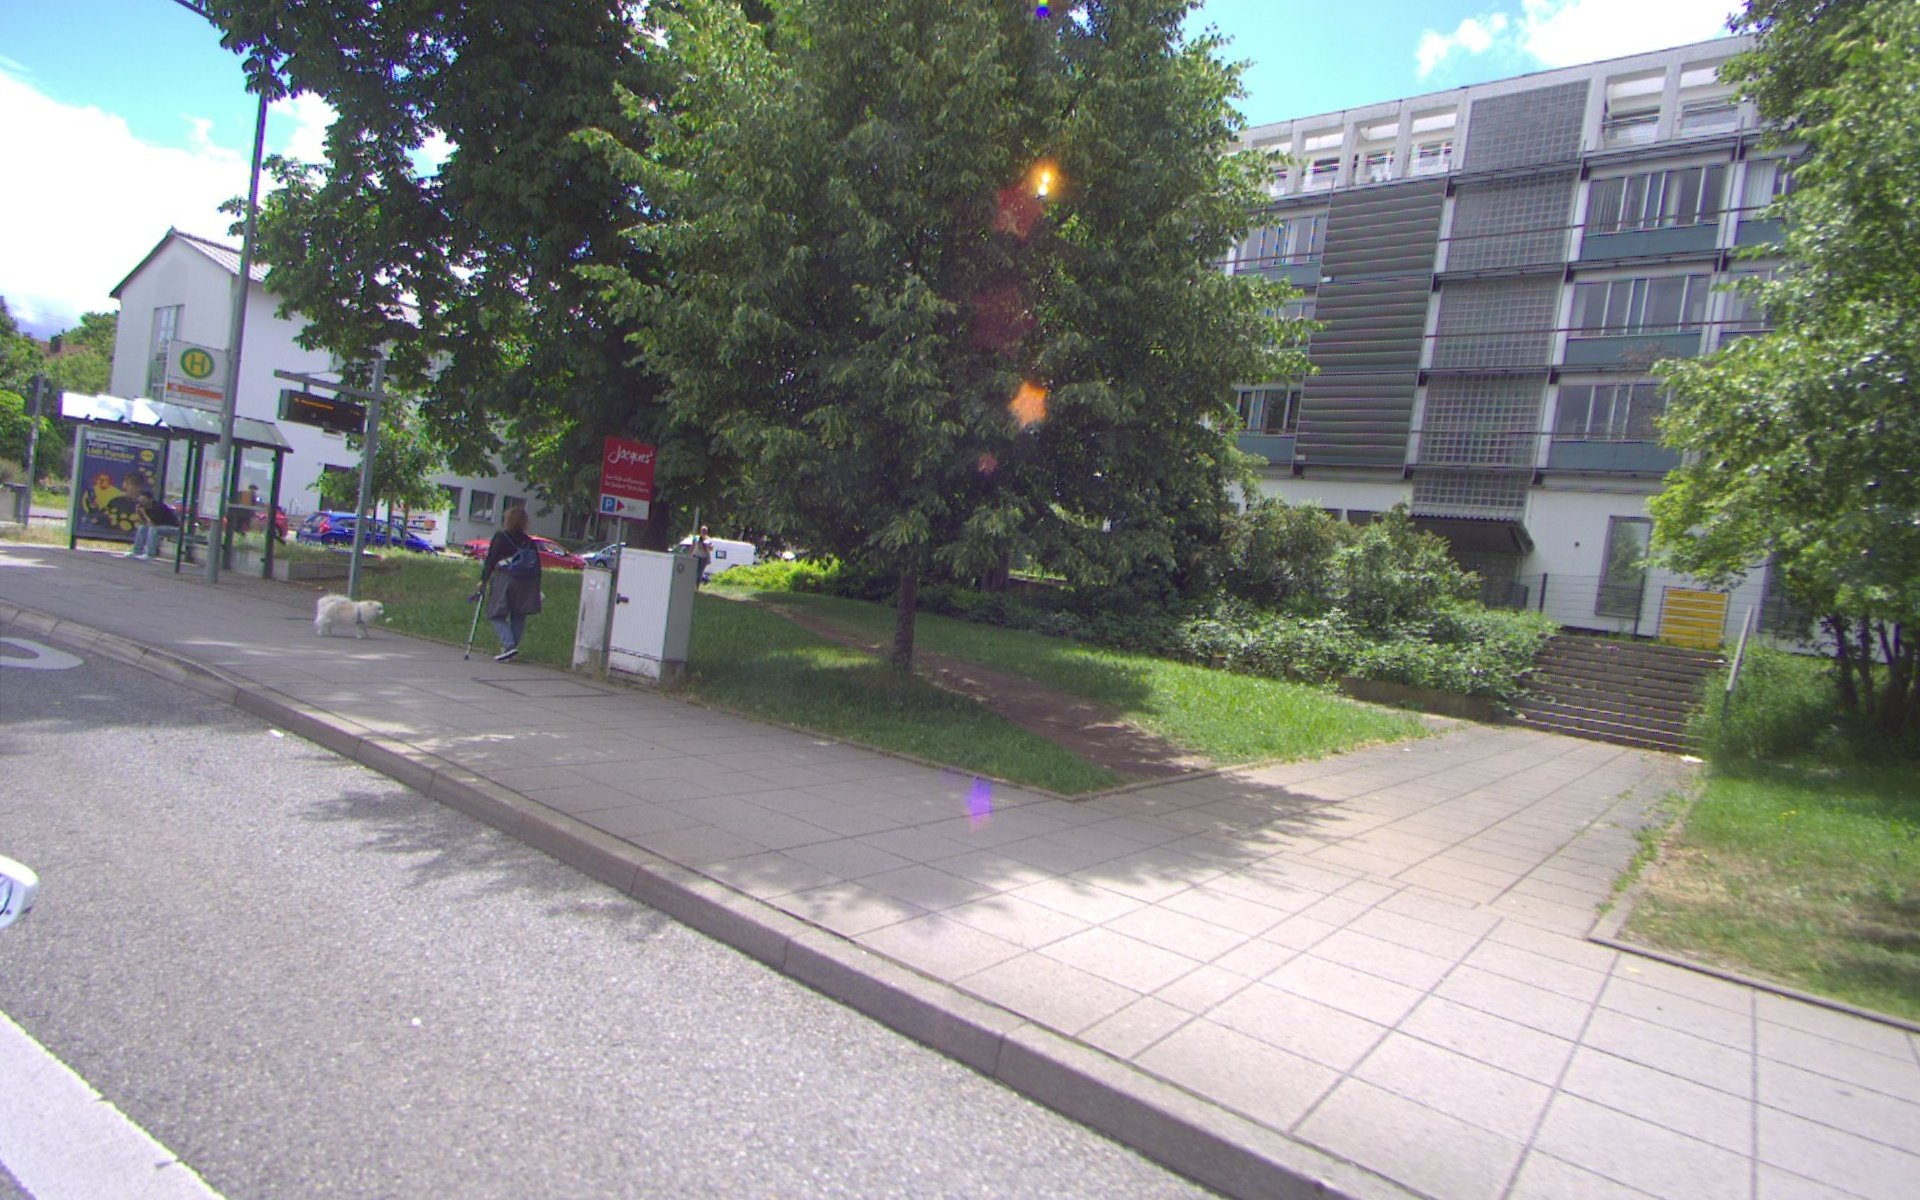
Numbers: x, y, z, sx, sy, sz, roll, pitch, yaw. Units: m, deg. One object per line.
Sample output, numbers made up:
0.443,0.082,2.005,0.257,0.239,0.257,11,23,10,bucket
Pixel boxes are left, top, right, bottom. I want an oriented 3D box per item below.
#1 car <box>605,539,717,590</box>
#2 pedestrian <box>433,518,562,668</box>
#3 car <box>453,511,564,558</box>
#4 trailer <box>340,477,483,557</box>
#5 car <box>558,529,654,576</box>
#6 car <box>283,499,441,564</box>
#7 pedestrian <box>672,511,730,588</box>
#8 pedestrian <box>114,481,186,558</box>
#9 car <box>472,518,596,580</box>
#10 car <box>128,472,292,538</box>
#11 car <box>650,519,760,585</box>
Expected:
-12.389,-1.459,41.873,1.967,1.579,4.081,8,1,32,car
-4.829,-0.066,10.520,0.817,1.443,0.819,7,1,36,pedestrian
-20.434,-2.924,45.666,1.967,1.522,4.081,10,3,33,car
-22.822,-3.420,42.025,2.185,2.518,4.540,10,2,34,trailer
-17.529,-2.342,49.925,1.879,1.745,3.986,9,1,36,car
-18.834,-2.132,31.823,1.865,1.476,3.793,10,3,33,car
-6.518,-1.276,25.319,0.982,1.783,0.847,5,2,-44,pedestrian
-14.929,-1.473,18.541,0.676,1.275,0.826,9,2,38,pedestrian
-15.567,-1.830,36.906,1.800,1.664,3.690,10,1,33,car
-26.670,-3.344,35.901,1.966,1.581,4.161,11,2,30,car
-13.914,-2.584,55.265,2.169,2.903,5.577,8,2,35,car
